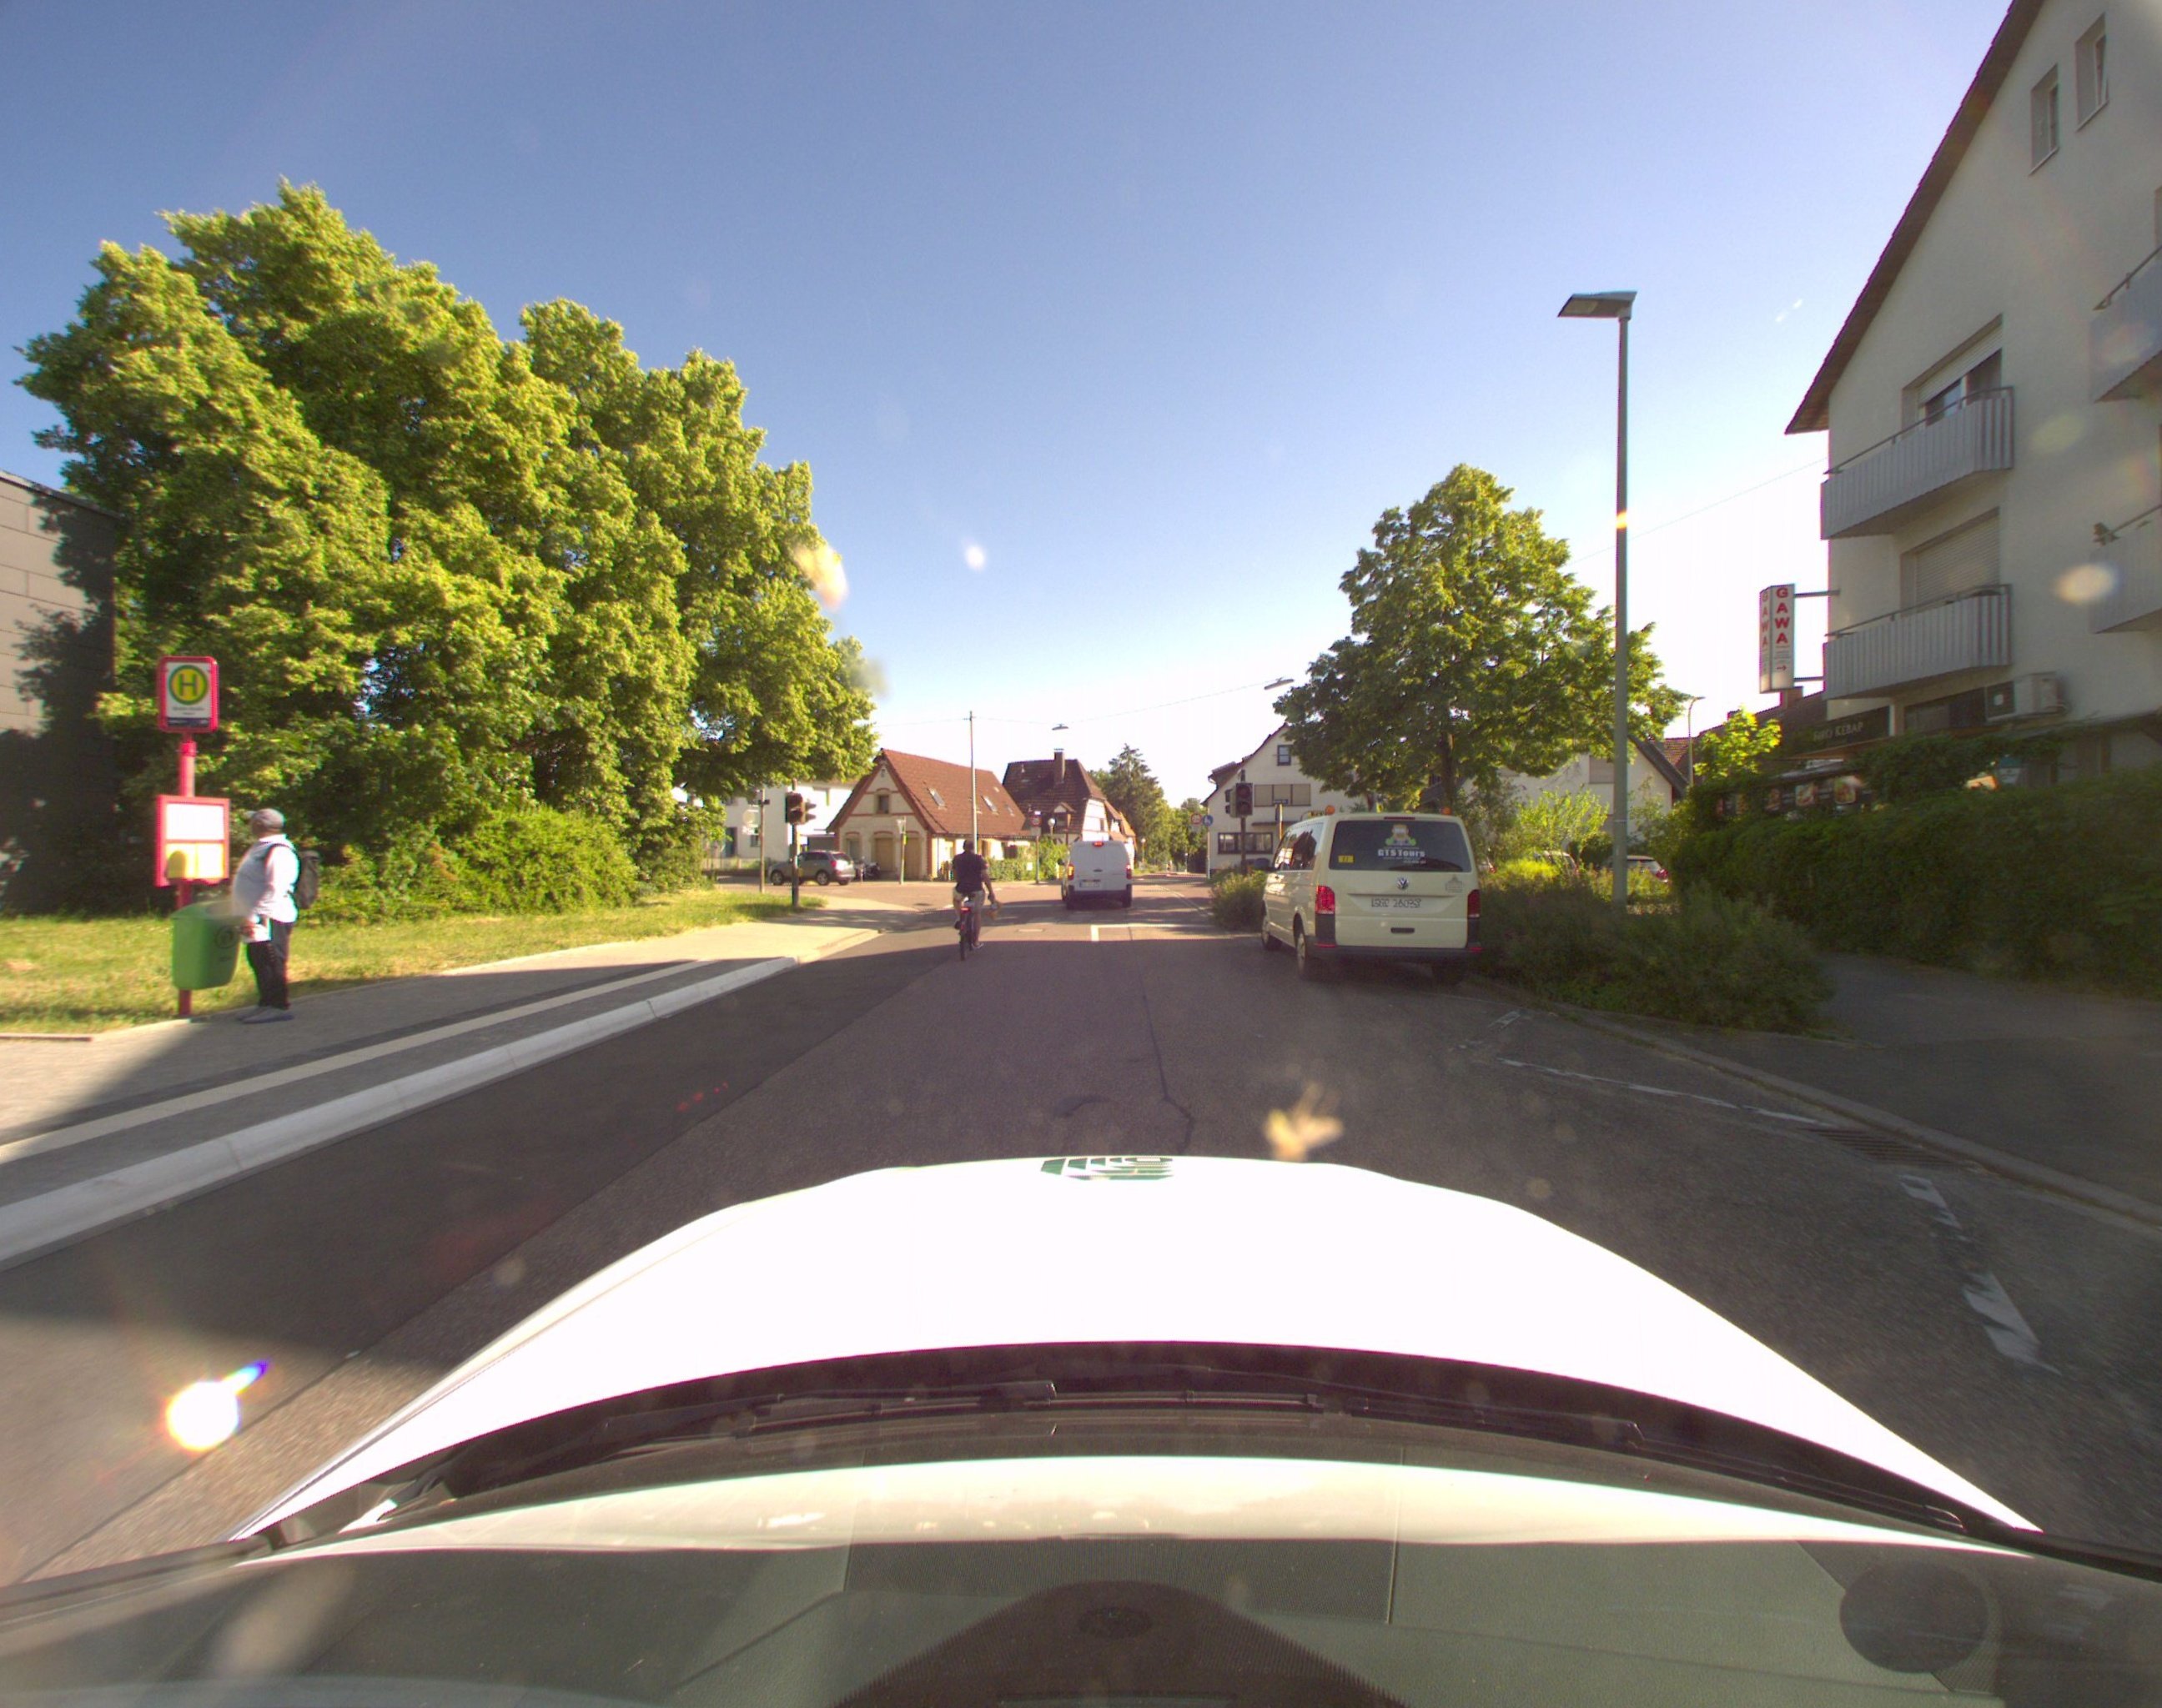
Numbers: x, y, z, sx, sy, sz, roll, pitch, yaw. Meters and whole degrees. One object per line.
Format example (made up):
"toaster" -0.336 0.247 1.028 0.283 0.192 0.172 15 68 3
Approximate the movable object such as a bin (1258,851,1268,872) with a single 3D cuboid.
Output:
"movable object such as a bin" 9.679 0.398 43.258 0.523 1.123 0.751 0 0 12

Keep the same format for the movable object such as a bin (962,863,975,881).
"movable object such as a bin" -5.920 0.954 42.974 0.409 0.906 0.629 0 1 20

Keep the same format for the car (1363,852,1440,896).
"car" 12.073 0.686 30.995 1.980 1.421 4.819 0 2 12

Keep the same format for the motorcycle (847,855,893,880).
"motorcycle" -11.288 0.717 43.533 2.223 1.295 0.887 -1 3 21

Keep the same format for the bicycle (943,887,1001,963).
"bicycle" -1.630 1.026 12.443 0.773 0.940 2.286 -1 0 -5

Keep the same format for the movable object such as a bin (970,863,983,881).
"movable object such as a bin" -5.501 0.953 42.830 0.407 0.924 0.629 0 0 20

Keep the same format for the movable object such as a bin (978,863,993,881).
"movable object such as a bin" -5.017 0.942 42.656 0.551 0.924 0.629 0 0 20

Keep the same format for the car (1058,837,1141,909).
"car" 0.419 0.450 23.327 1.953 1.848 4.554 -1 1 -4

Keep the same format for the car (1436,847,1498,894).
"car" 14.559 0.553 30.925 1.694 1.517 4.426 1 2 20

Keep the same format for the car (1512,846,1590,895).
"car" 17.219 0.551 30.039 1.694 1.551 4.426 1 2 20

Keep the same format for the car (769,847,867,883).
"car" -12.951 0.542 40.146 4.188 1.725 1.954 0 -2 16

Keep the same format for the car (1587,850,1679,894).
"car" 19.867 0.600 29.499 1.632 1.349 4.132 1 2 17

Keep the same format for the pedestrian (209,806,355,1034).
"pedestrian" -6.839 0.513 6.976 0.709 1.802 0.776 2 1 38

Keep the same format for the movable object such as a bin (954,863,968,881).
"movable object such as a bin" -6.365 0.947 43.169 0.503 0.924 0.629 0 0 20

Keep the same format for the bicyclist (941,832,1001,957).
"bicyclist" -1.650 0.582 12.377 0.763 1.788 0.851 -3 1 -6

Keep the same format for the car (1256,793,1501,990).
"car" 3.659 0.406 10.974 1.984 2.079 4.584 0 0 5
